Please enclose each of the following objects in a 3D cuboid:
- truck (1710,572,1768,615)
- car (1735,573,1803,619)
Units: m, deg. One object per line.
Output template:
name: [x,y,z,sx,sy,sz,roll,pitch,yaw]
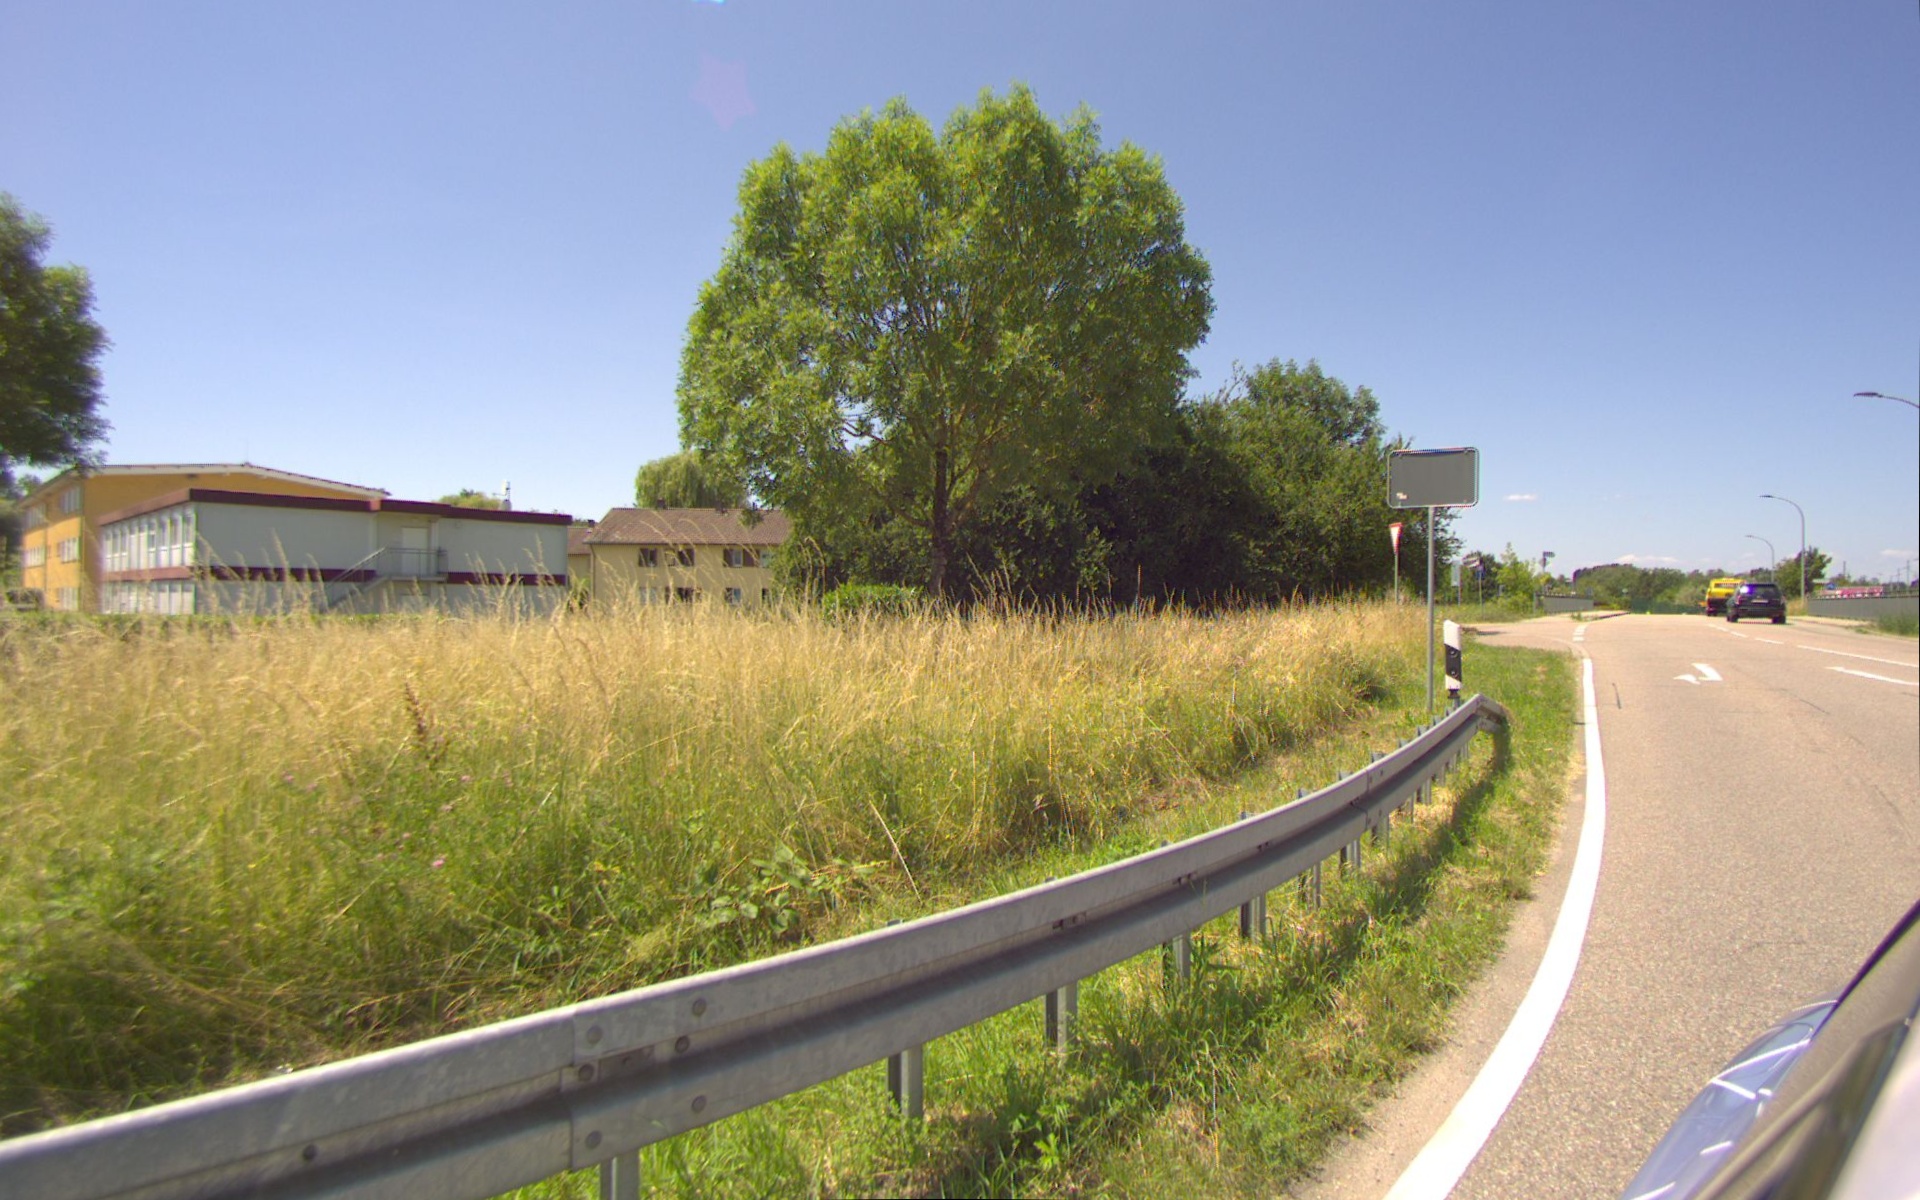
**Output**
truck: [46.990,-0.492,61.204,2.304,2.366,8.936,2,2,35]
car: [32.882,-0.221,41.234,1.896,1.723,3.951,1,2,35]
